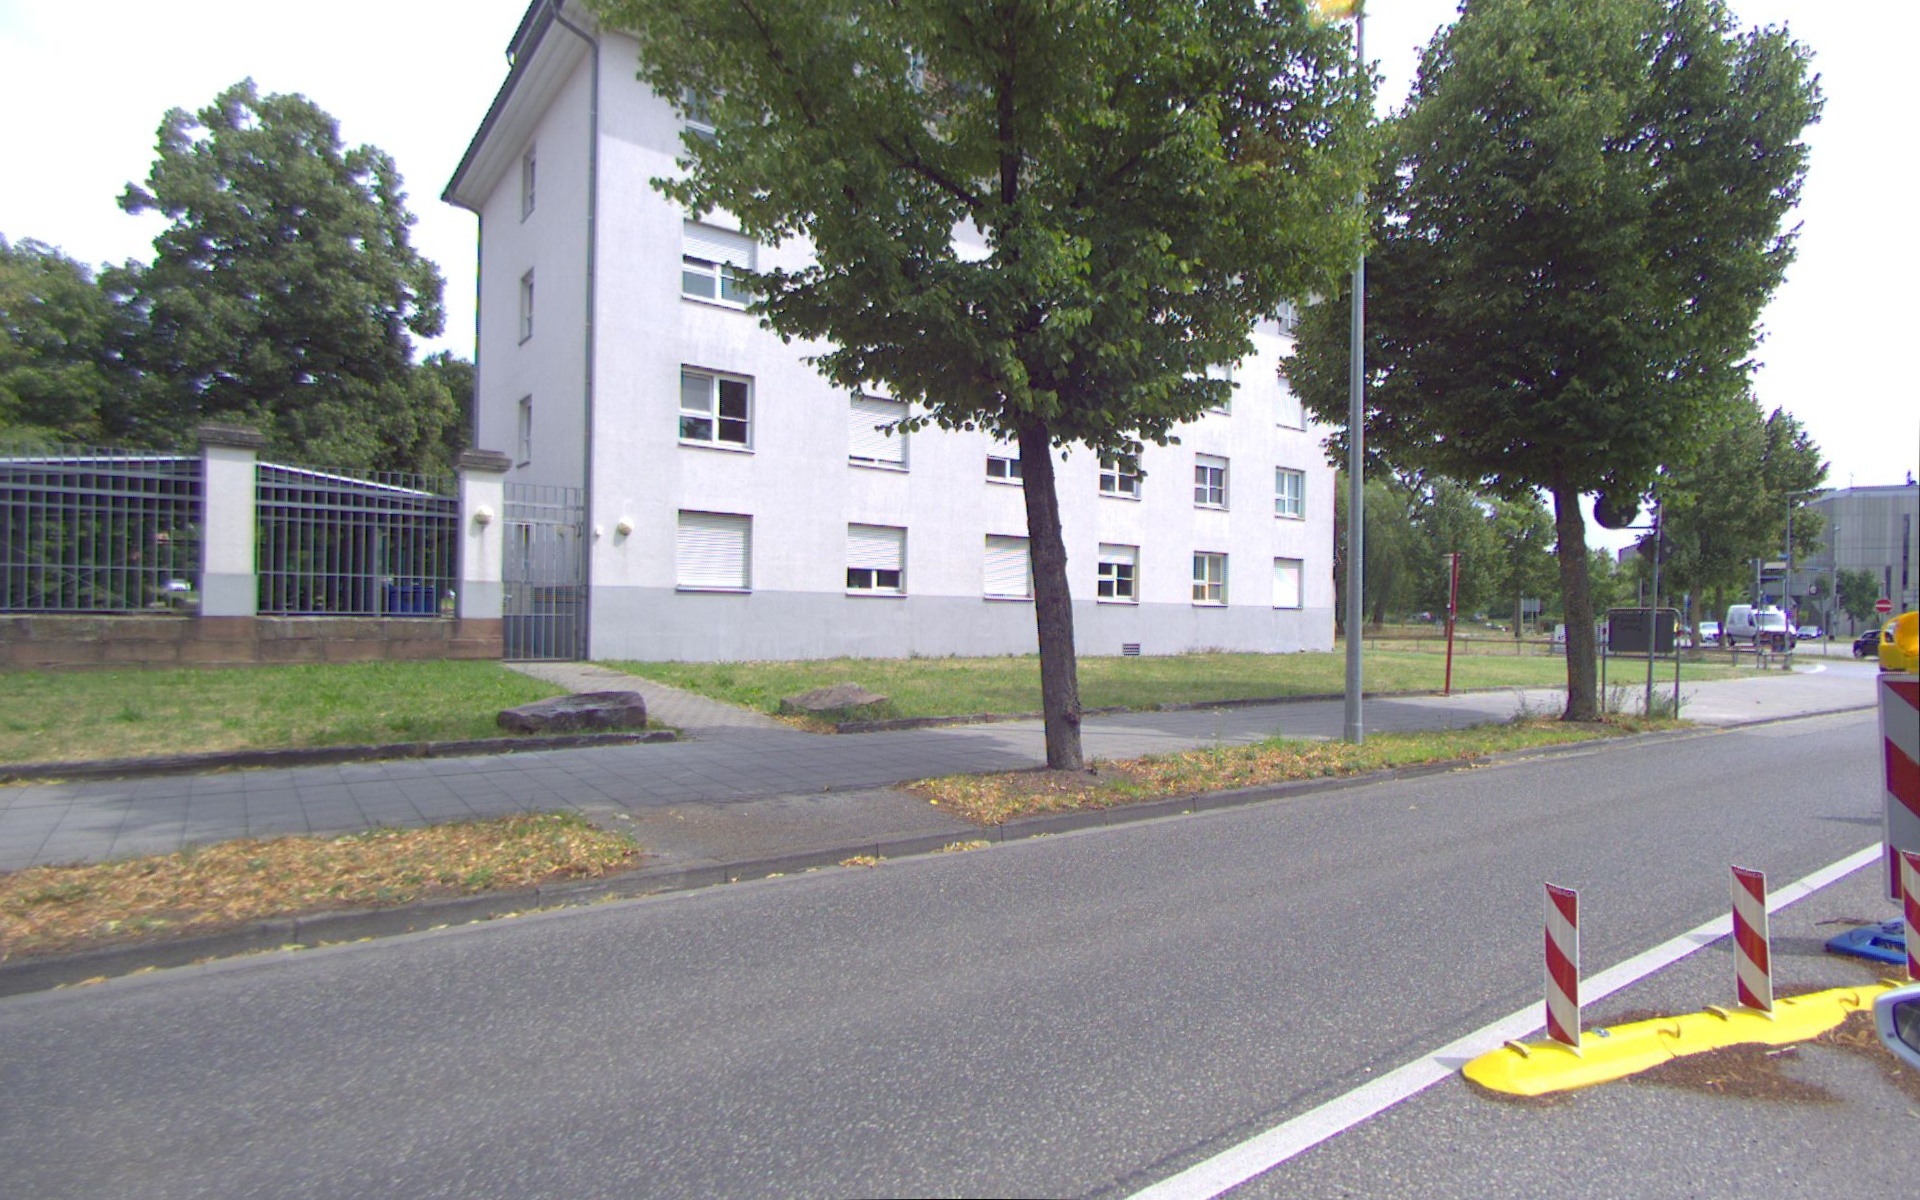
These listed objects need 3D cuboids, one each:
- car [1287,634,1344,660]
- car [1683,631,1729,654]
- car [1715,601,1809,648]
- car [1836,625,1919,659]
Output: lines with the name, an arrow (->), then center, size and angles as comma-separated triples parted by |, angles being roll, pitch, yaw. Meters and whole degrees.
car -> 21.626, 2.839, 61.050 | 3.605, 1.497, 1.646 | 1, -2, -40
car -> 54.955, 3.118, 74.066 | 1.855, 1.683, 3.998 | -1, -2, 24
car -> 50.910, 1.609, 63.938 | 2.566, 2.888, 5.679 | -1, -2, 15
car -> 44.302, 1.985, 47.449 | 1.745, 1.498, 4.250 | 1, -1, -9
